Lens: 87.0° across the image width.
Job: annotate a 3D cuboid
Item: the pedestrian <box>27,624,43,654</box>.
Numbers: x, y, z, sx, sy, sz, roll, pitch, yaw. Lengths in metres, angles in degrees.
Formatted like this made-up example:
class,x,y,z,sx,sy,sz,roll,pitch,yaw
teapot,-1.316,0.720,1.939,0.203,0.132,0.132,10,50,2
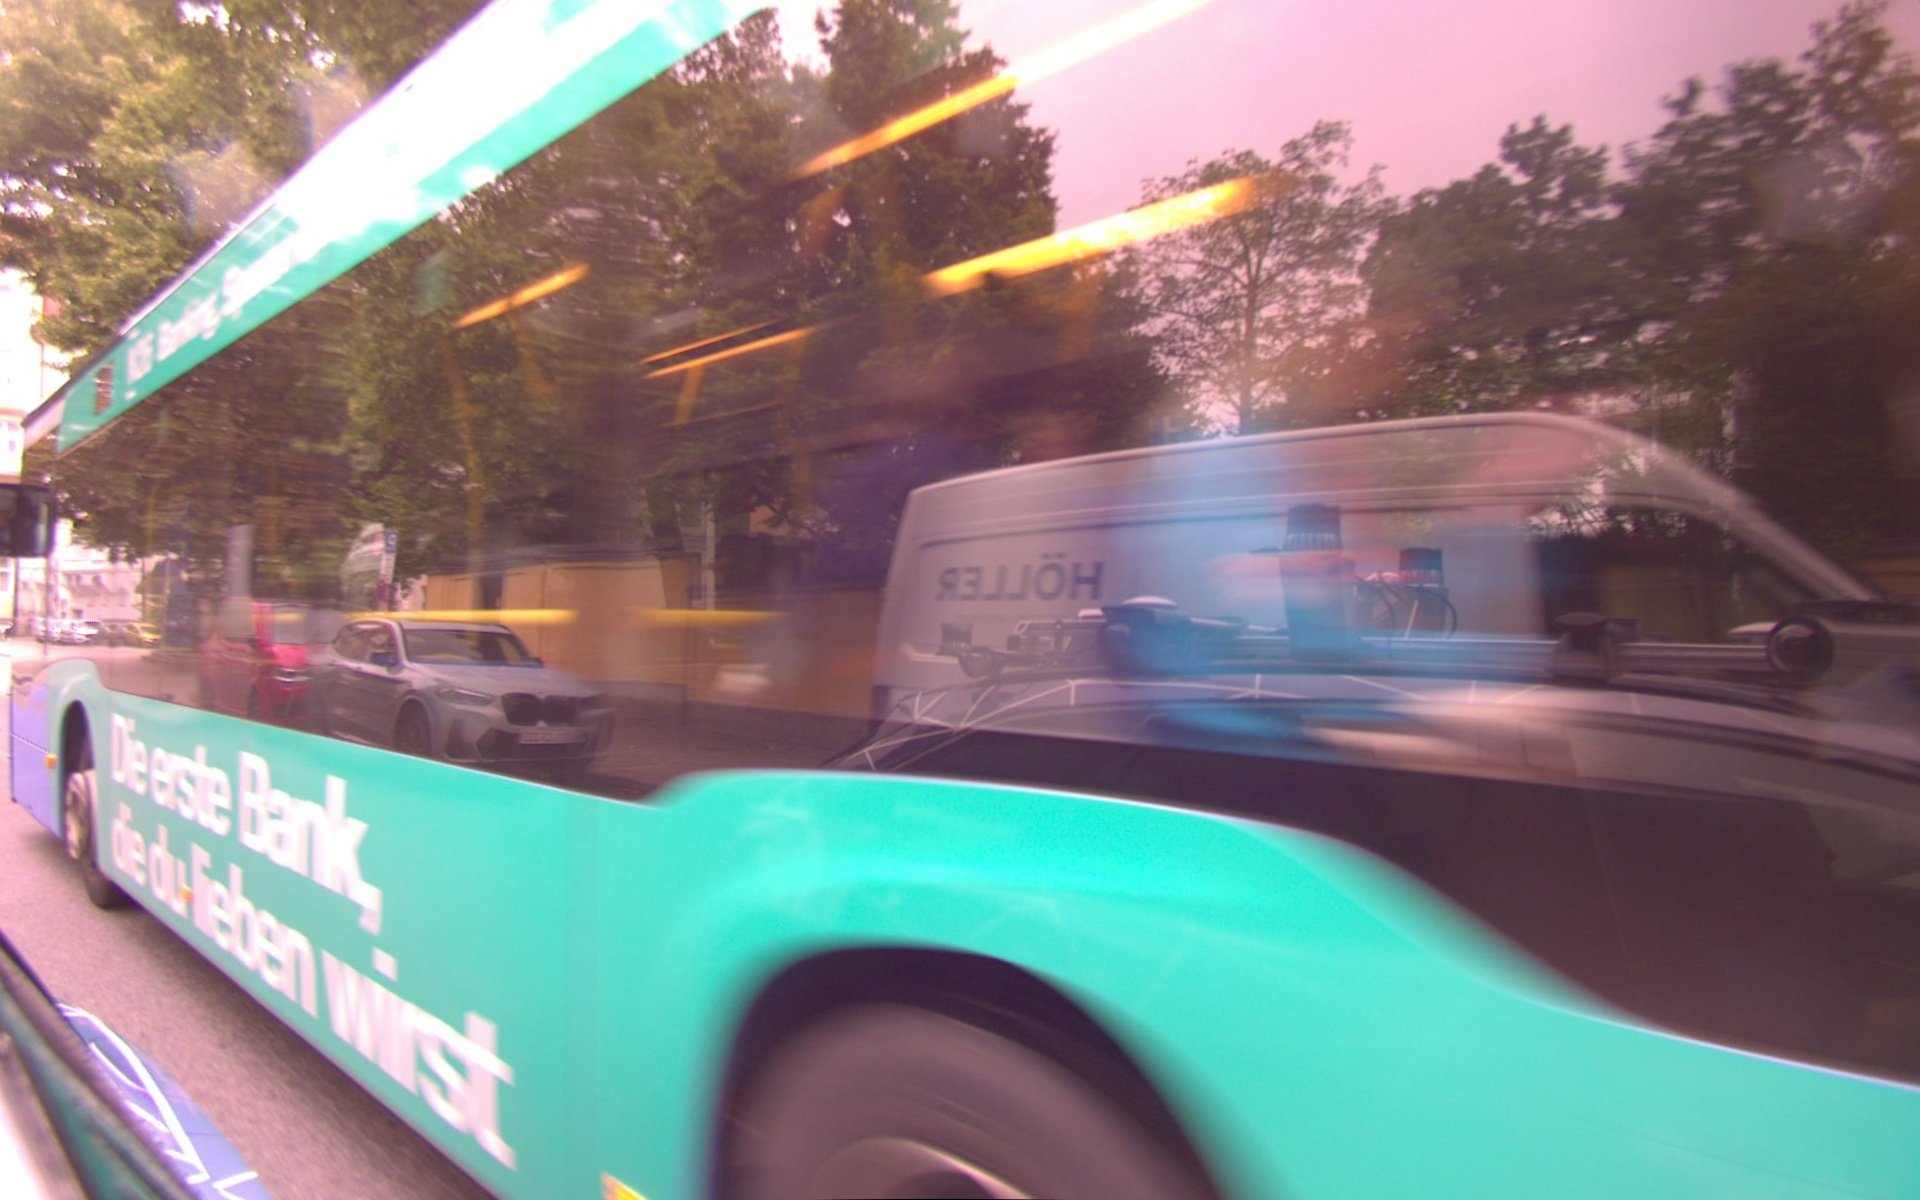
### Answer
class,x,y,z,sx,sy,sz,roll,pitch,yaw
pedestrian,-52.119,2.175,57.042,0.597,1.677,0.464,1,-1,-37

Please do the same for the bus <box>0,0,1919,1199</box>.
class,x,y,z,sx,sy,sz,roll,pitch,yaw
bus,1.294,-0.154,1.603,18.416,3.264,2.830,0,-1,41

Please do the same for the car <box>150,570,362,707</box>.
class,x,y,z,sx,sy,sz,roll,pitch,yaw
car,-14.039,0.743,20.040,5.403,2.366,2.093,-2,-2,40

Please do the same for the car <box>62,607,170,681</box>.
class,x,y,z,sx,sy,sz,roll,pitch,yaw
car,-24.370,1.246,29.146,4.834,1.952,1.858,-2,-3,44

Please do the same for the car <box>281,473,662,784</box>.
class,x,y,z,sx,sy,sz,roll,pitch,yaw
car,-6.138,0.273,12.183,6.236,2.876,1.924,0,-1,43

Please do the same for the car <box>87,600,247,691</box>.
class,x,y,z,sx,sy,sz,roll,pitch,yaw
car,-19.258,1.077,24.474,5.455,1.979,1.925,-1,-3,40

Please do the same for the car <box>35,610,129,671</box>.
class,x,y,z,sx,sy,sz,roll,pitch,yaw
car,-28.253,1.226,32.502,5.061,1.781,1.858,0,-1,44

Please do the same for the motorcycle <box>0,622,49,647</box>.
class,x,y,z,sx,sy,sz,roll,pitch,yaw
motorcycle,-52.899,1.946,57.098,2.212,1.336,0.824,2,-1,-44

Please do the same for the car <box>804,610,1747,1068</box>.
class,x,y,z,sx,sy,sz,roll,pitch,yaw
car,1.247,0.839,5.462,4.552,1.449,1.770,-2,-3,44
